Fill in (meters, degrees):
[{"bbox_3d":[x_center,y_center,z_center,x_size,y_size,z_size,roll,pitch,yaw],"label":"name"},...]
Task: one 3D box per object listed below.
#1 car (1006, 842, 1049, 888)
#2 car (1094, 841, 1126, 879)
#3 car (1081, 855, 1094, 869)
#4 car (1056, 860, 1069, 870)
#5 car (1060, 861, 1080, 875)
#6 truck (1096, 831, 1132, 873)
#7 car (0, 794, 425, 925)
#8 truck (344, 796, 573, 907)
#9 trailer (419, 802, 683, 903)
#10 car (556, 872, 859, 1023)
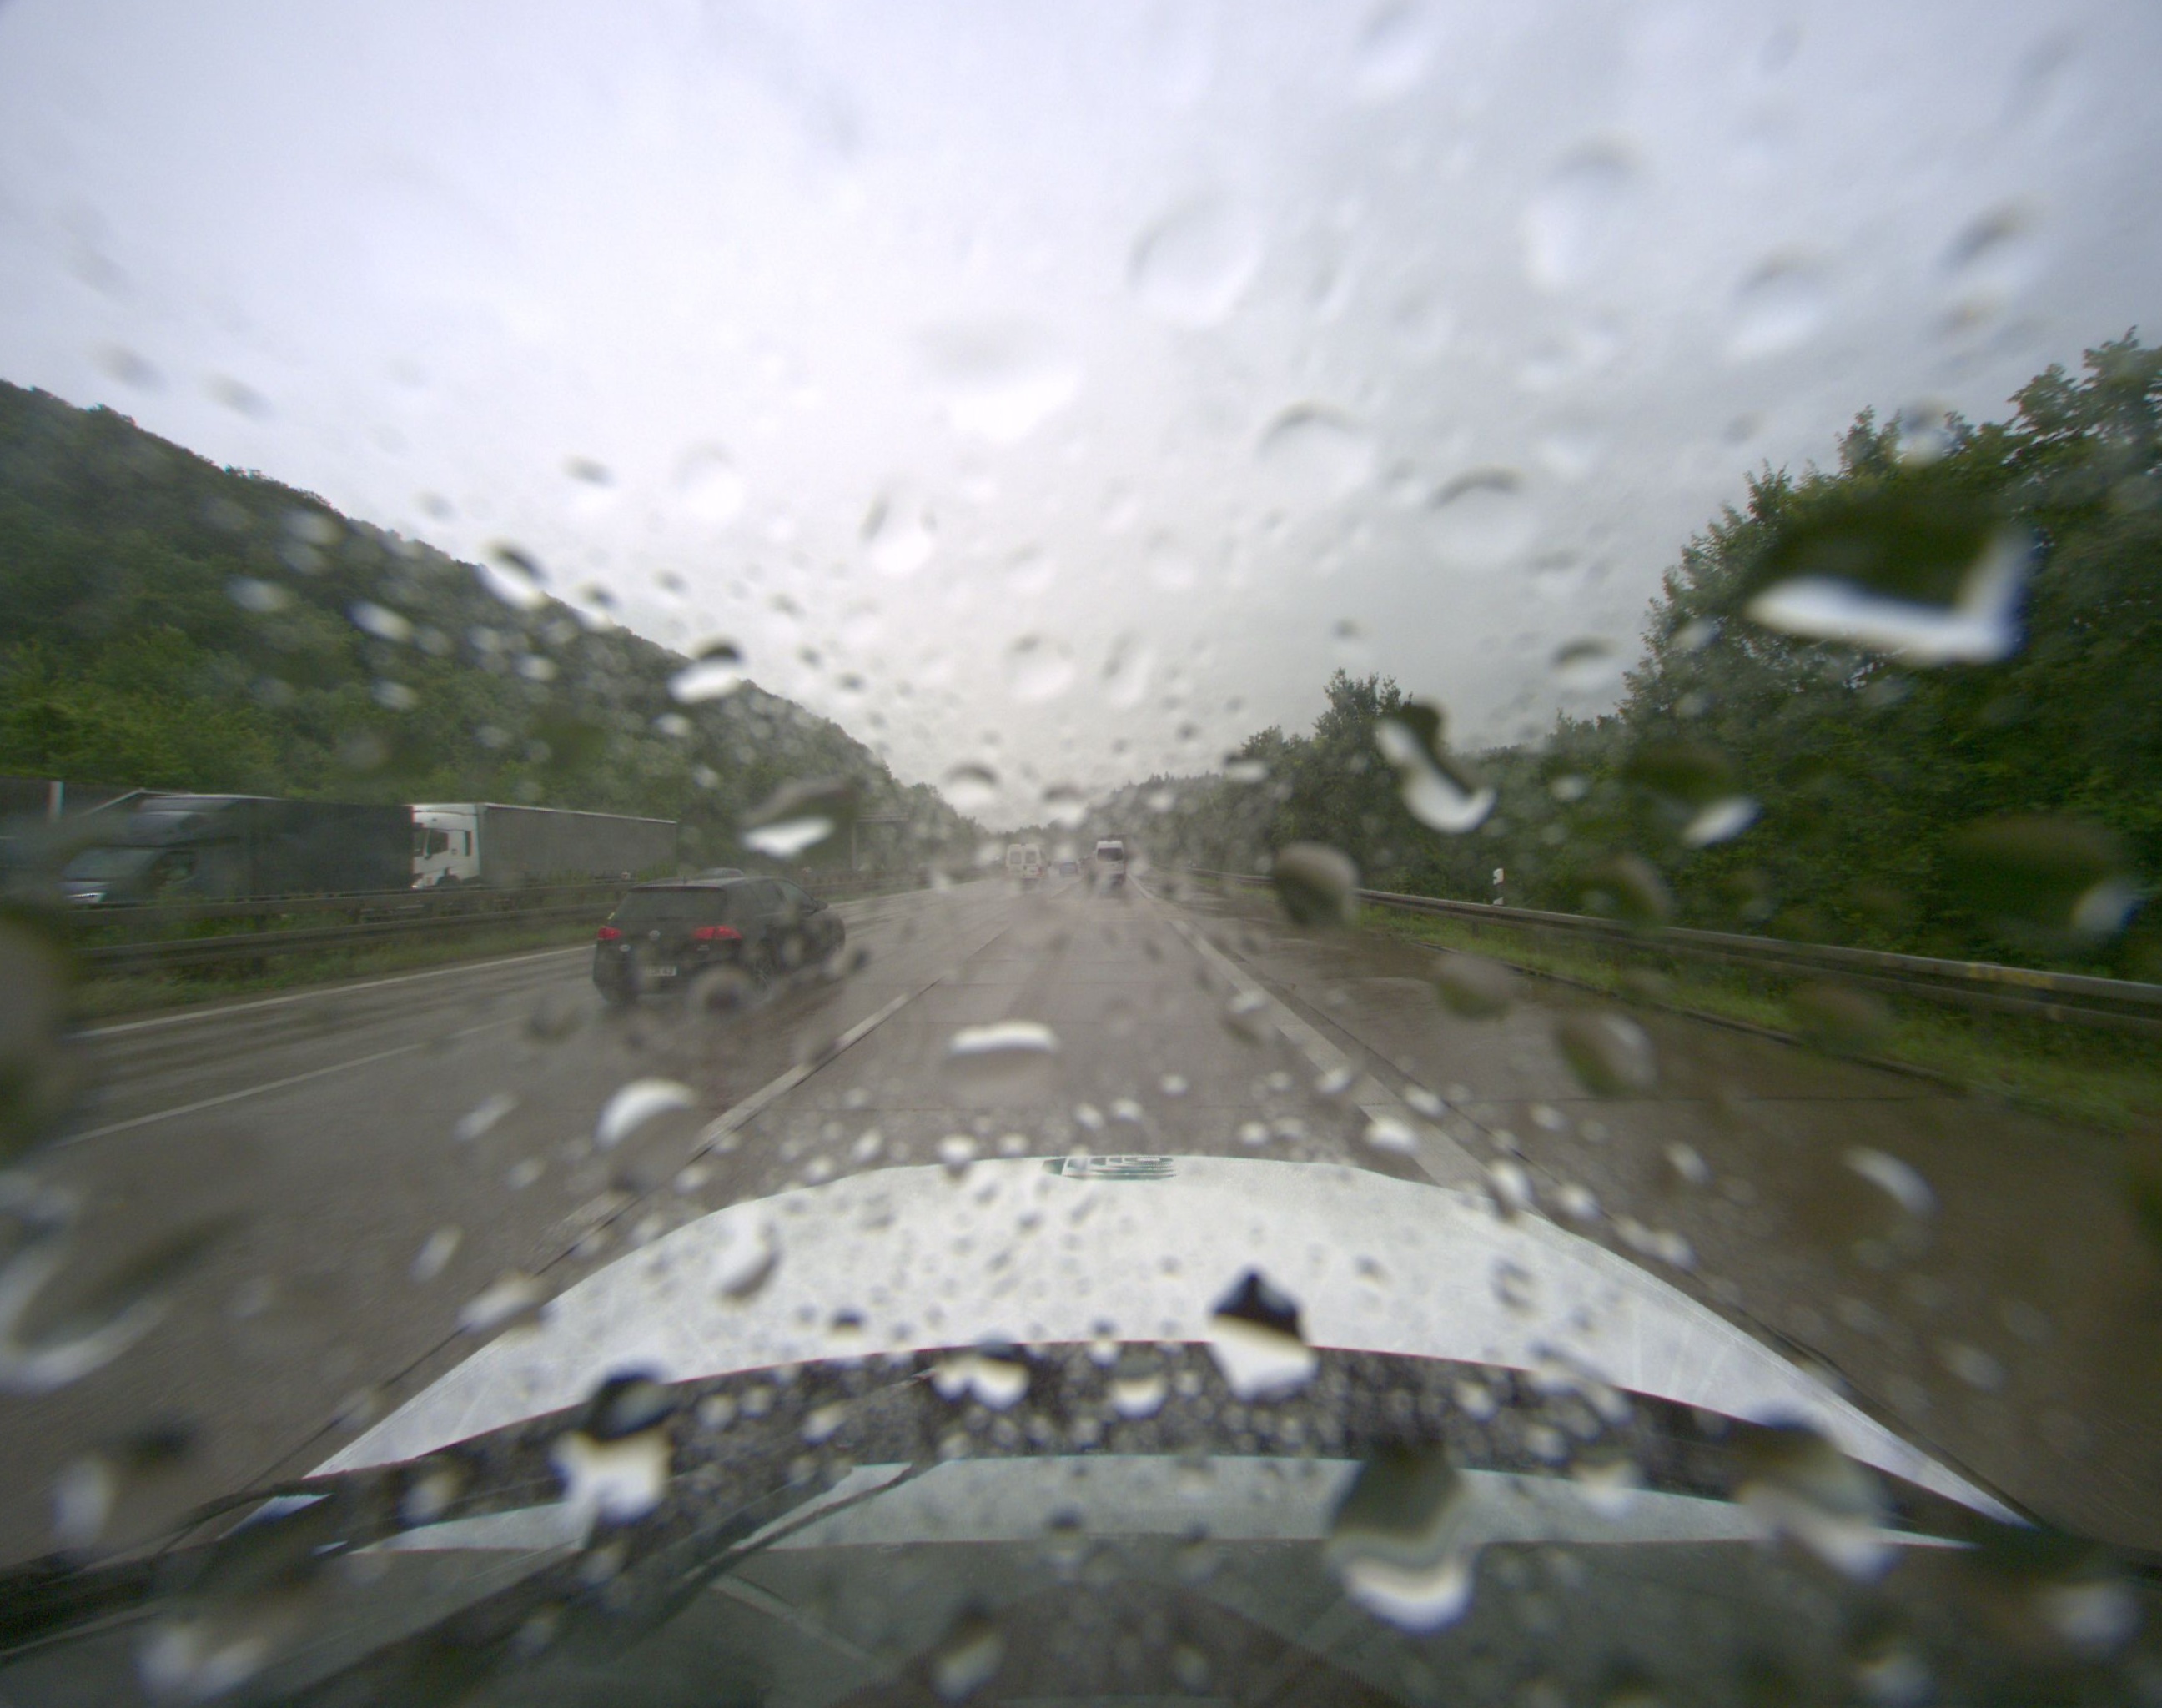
[{"bbox_3d":[-2.945,0.599,46.079,1.991,2.432,5.791,1,0,1],"label":"car"},{"bbox_3d":[1.827,0.365,52.664,1.893,2.334,5.251,1,0,1],"label":"car"},{"bbox_3d":[0.929,1.130,116.222,1.862,1.810,4.189,1,0,1],"label":"car"},{"bbox_3d":[-2.764,1.611,120.111,1.851,1.339,4.349,1,0,-1],"label":"car"},{"bbox_3d":[-1.081,1.366,79.518,1.851,1.339,4.349,1,0,-1],"label":"car"},{"bbox_3d":[3.292,-0.305,82.853,3.372,3.968,8.670,-2,2,2],"label":"truck"},{"bbox_3d":[-20.229,0.124,19.823,2.174,2.567,7.451,0,0,3],"label":"car"},{"bbox_3d":[-23.798,-0.065,31.822,2.764,3.801,7.684,0,0,2],"label":"truck"},{"bbox_3d":[-23.545,-0.029,37.899,2.756,3.801,13.785,0,0,2],"label":"trailer"},{"bbox_3d":[-4.283,0.968,10.218,1.735,1.388,4.321,-2,-1,0],"label":"car"}]
